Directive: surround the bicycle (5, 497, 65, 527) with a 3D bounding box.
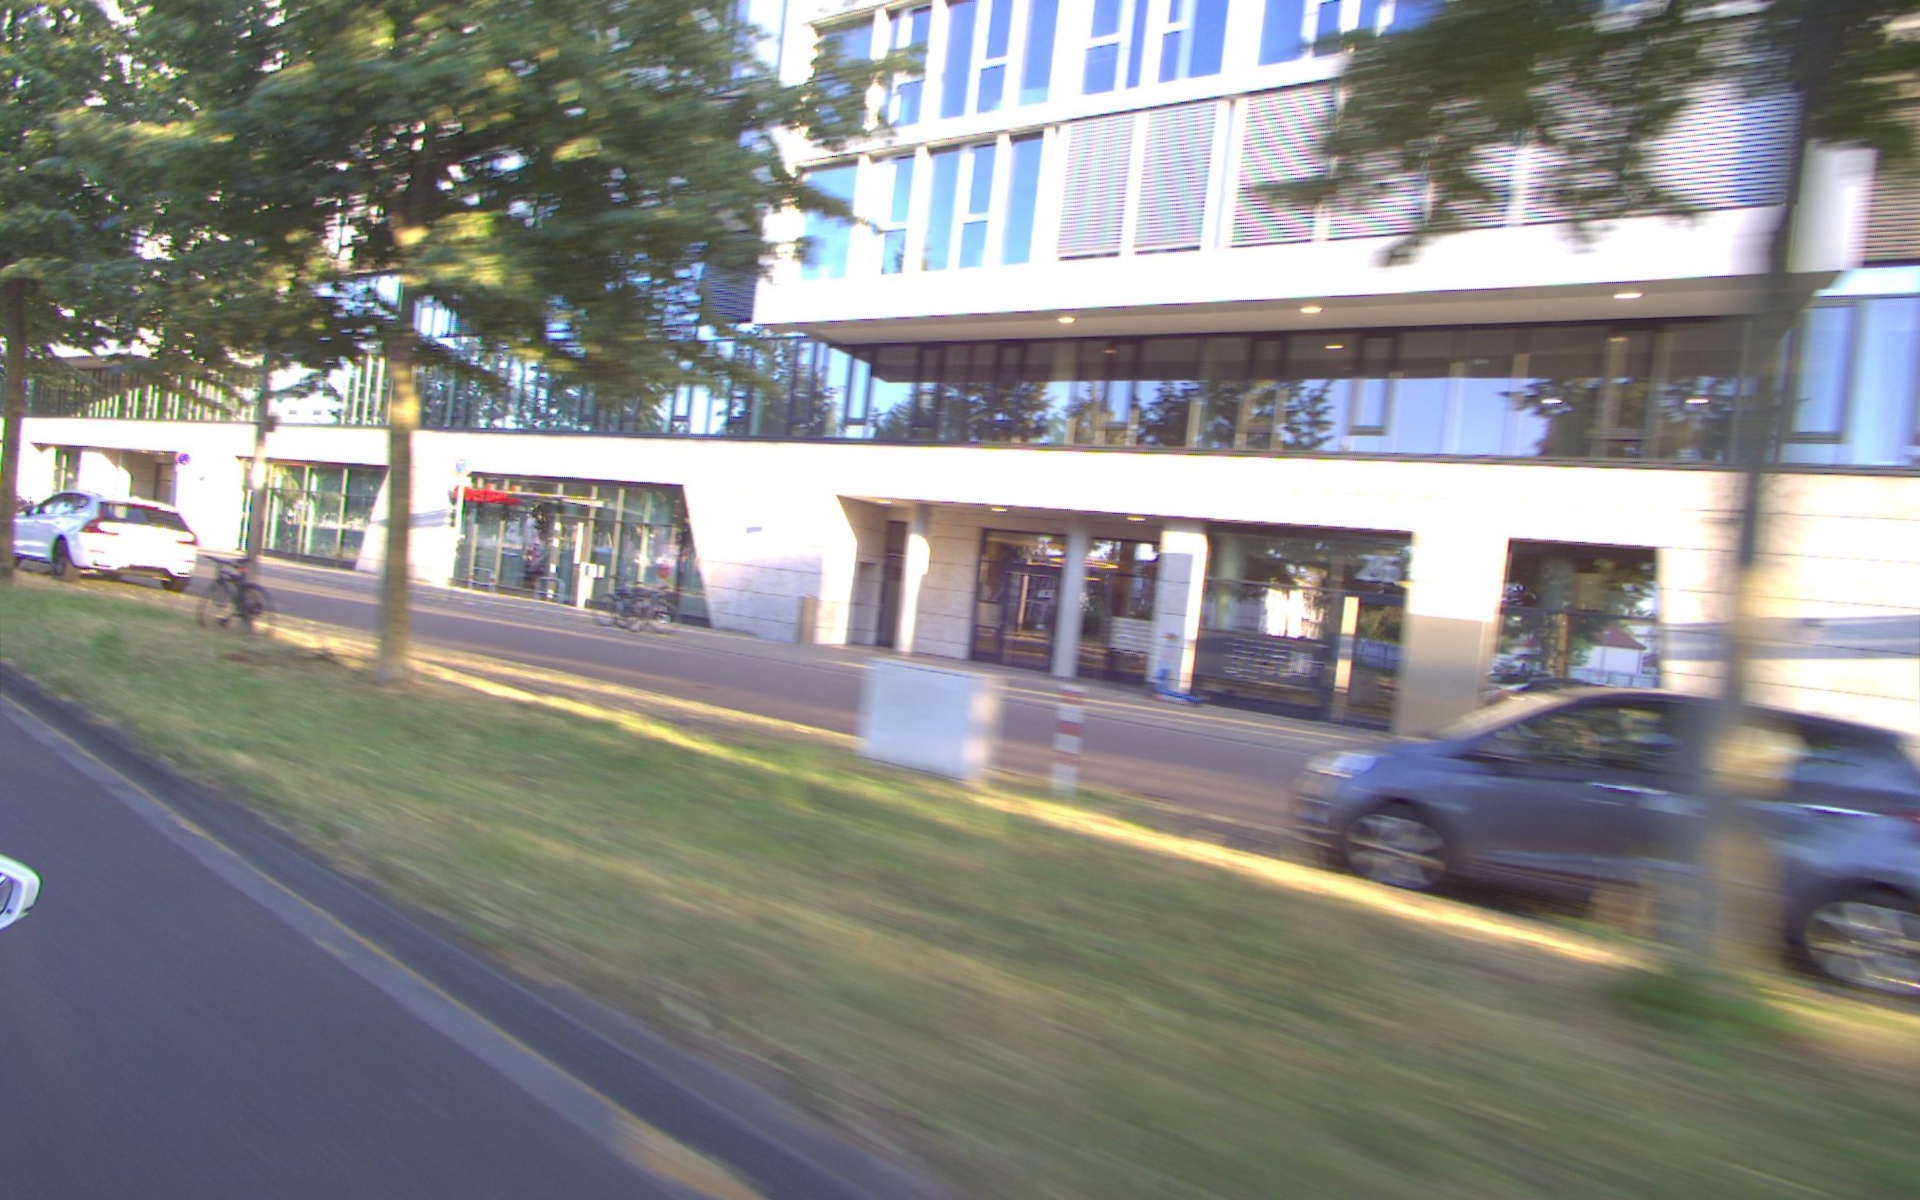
[{"bbox_3d":[-40.552,-3.850,44.113,0.397,0.999,1.833,7,0,31],"label":"bicycle"}]

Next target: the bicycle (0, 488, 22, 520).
[{"bbox_3d":[-45.166,-4.557,47.006,0.494,1.374,1.834,7,0,27],"label":"bicycle"}]

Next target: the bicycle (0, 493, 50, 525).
[{"bbox_3d":[-42.394,-4.128,45.420,0.438,1.192,1.833,7,0,31],"label":"bicycle"}]

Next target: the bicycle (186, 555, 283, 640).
[{"bbox_3d":[-8.534,-0.042,11.816,1.526,0.834,0.315,7,1,32],"label":"bicycle"}]

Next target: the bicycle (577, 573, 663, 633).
[{"bbox_3d":[-7.273,0.057,21.481,1.861,1.052,0.595,7,1,32],"label":"bicycle"}]

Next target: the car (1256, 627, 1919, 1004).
[{"bbox_3d":[4.092,1.221,6.608,3.695,1.533,1.714,7,-2,30],"label":"car"}]

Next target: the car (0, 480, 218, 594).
[{"bbox_3d":[-16.482,-1.240,19.196,4.797,1.663,1.996,7,0,31],"label":"car"}]

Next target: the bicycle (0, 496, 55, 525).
[{"bbox_3d":[-41.951,-4.015,45.194,0.438,1.060,1.833,7,0,31],"label":"bicycle"}]

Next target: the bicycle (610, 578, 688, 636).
[{"bbox_3d":[-6.762,0.138,21.832,1.777,1.052,0.471,7,1,32],"label":"bicycle"}]

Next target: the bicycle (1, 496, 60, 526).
[{"bbox_3d":[-41.530,-3.964,44.971,0.397,1.070,1.833,7,0,31],"label":"bicycle"}]

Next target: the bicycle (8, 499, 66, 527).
[{"bbox_3d":[-40.210,-3.784,43.850,0.397,0.964,1.746,7,0,31],"label":"bicycle"}]

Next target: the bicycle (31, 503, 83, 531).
[{"bbox_3d":[-39.272,-3.599,43.749,0.397,0.999,1.577,7,0,31],"label":"bicycle"}]

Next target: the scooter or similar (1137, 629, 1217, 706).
[{"bbox_3d":[3.936,1.219,18.292,1.208,1.226,0.473,7,1,32],"label":"scooter or similar"}]

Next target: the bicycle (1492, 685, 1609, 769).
[{"bbox_3d":[8.934,1.907,15.260,0.450,1.040,1.381,6,1,-33],"label":"bicycle"}]
